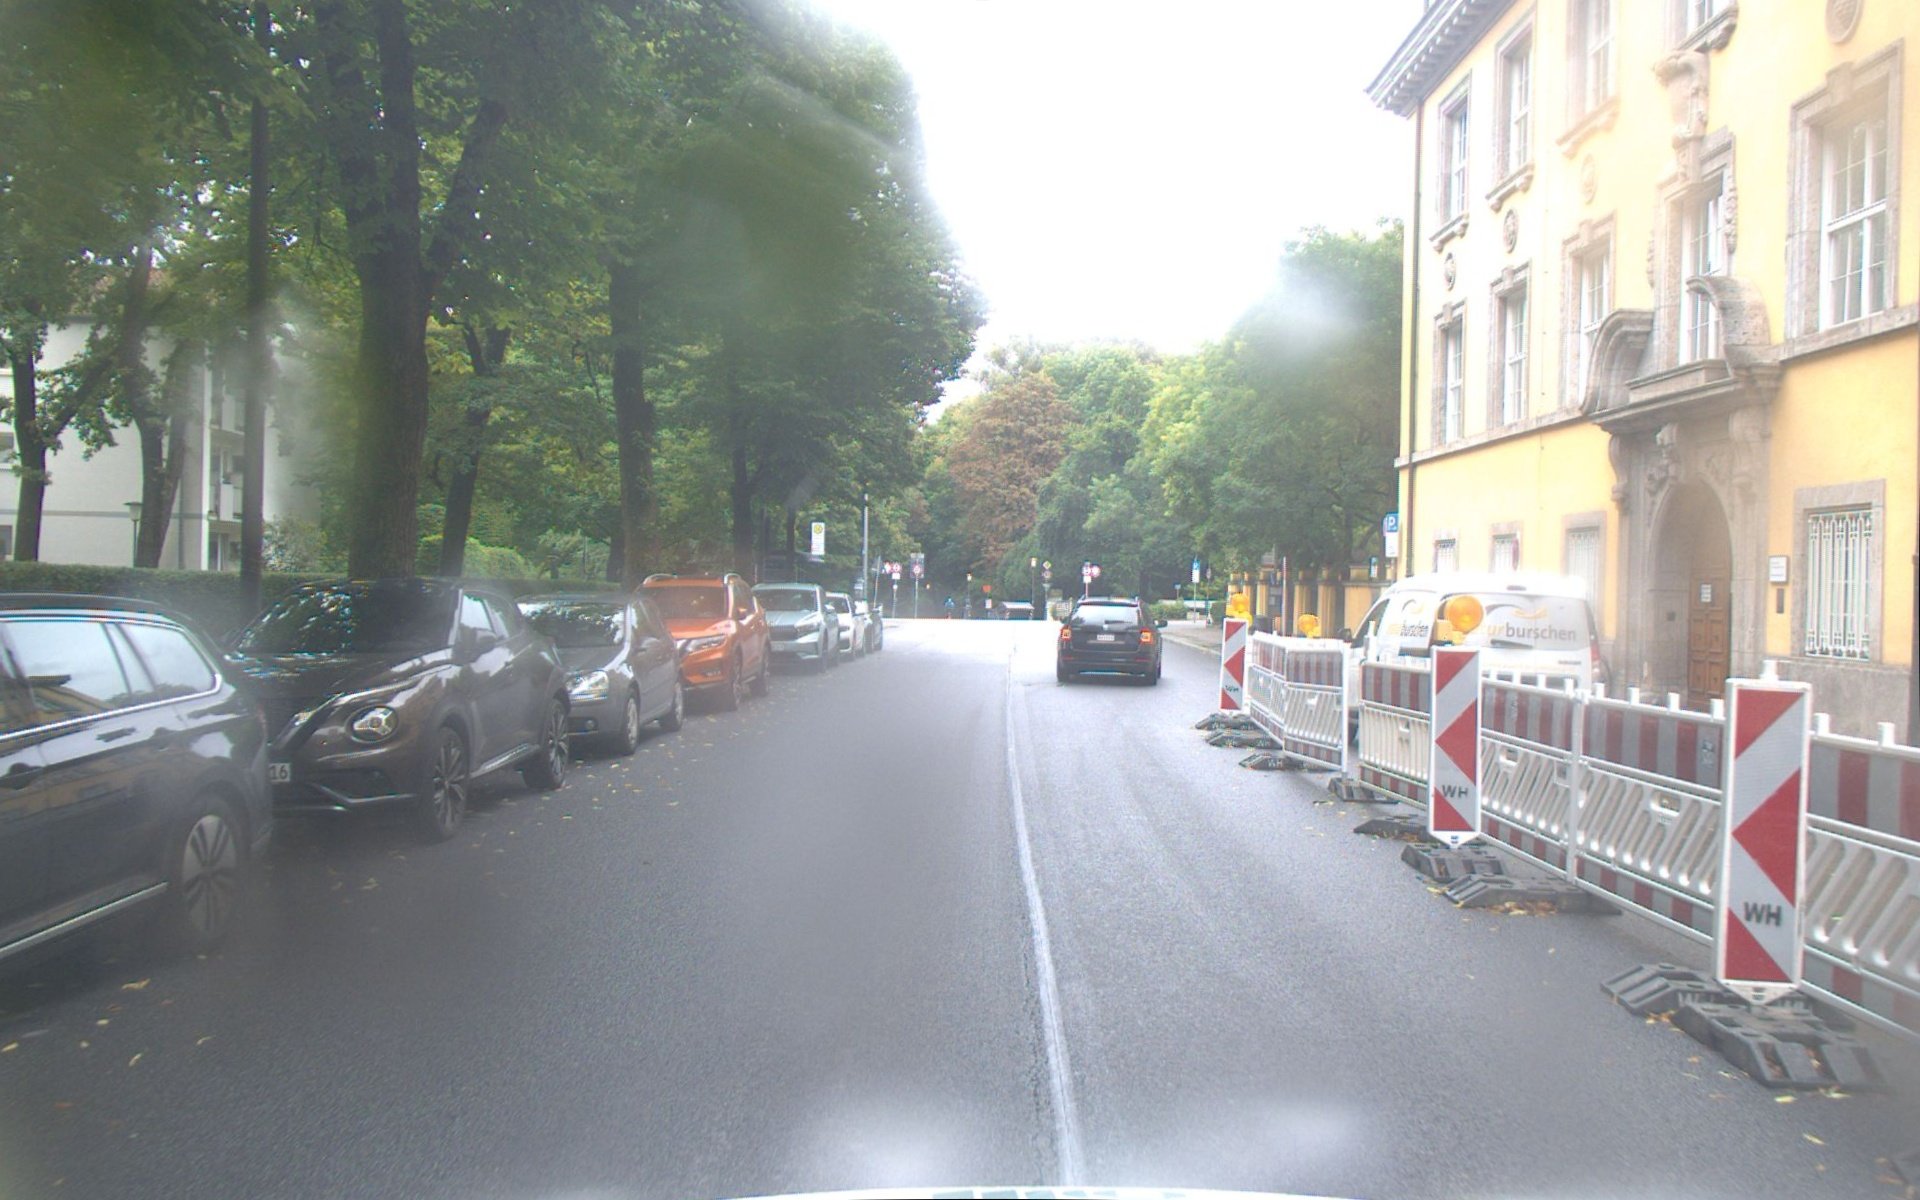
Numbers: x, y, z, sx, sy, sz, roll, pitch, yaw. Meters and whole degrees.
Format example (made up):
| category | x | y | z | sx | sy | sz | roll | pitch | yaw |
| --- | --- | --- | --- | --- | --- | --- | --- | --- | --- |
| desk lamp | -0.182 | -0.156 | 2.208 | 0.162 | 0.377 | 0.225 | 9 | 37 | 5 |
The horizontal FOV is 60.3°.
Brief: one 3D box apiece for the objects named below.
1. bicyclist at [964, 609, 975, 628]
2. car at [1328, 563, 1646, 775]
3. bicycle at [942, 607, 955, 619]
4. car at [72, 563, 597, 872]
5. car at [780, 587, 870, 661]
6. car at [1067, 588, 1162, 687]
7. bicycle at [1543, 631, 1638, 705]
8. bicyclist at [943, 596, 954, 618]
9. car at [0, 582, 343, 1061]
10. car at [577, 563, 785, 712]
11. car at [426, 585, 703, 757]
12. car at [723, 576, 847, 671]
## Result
| category | x | y | z | sx | sy | sz | roll | pitch | yaw |
| --- | --- | --- | --- | --- | --- | --- | --- | --- | --- |
| bicyclist | 0.598 | 1.166 | 105.641 | 0.667 | 1.208 | 0.480 | 1 | 0 | -6 |
| car | 4.987 | 0.610 | 16.293 | 1.704 | 1.780 | 4.355 | 1 | -1 | 0 |
| bicycle | -0.850 | 0.931 | 119.571 | 0.667 | 0.844 | 2.106 | 1 | -1 | -8 |
| car | -3.798 | 0.603 | 10.981 | 1.749 | 1.602 | 4.486 | 1 | 0 | 0 |
| car | -2.920 | 0.496 | 36.461 | 1.545 | 1.523 | 4.199 | 1 | 0 | 1 |
| car | 2.685 | 0.619 | 29.287 | 1.544 | 1.611 | 4.046 | 1 | 0 | 4 |
| bicycle | 9.513 | 1.007 | 25.029 | 0.666 | 1.024 | 2.057 | 1 | 0 | 1 |
| bicyclist | -0.834 | 0.500 | 119.636 | 0.668 | 1.530 | 0.899 | 1 | 0 | -8 |
| car | -3.792 | 0.671 | 5.349 | 1.683 | 1.476 | 4.696 | 1 | 0 | 2 |
| car | -3.598 | 0.451 | 22.188 | 1.834 | 1.758 | 4.642 | 1 | 0 | 2 |
| car | -3.732 | 0.596 | 16.342 | 1.692 | 1.447 | 4.251 | 1 | 0 | 0 |
| car | -3.235 | 0.405 | 31.308 | 1.778 | 1.629 | 4.514 | 1 | 0 | 1 |
